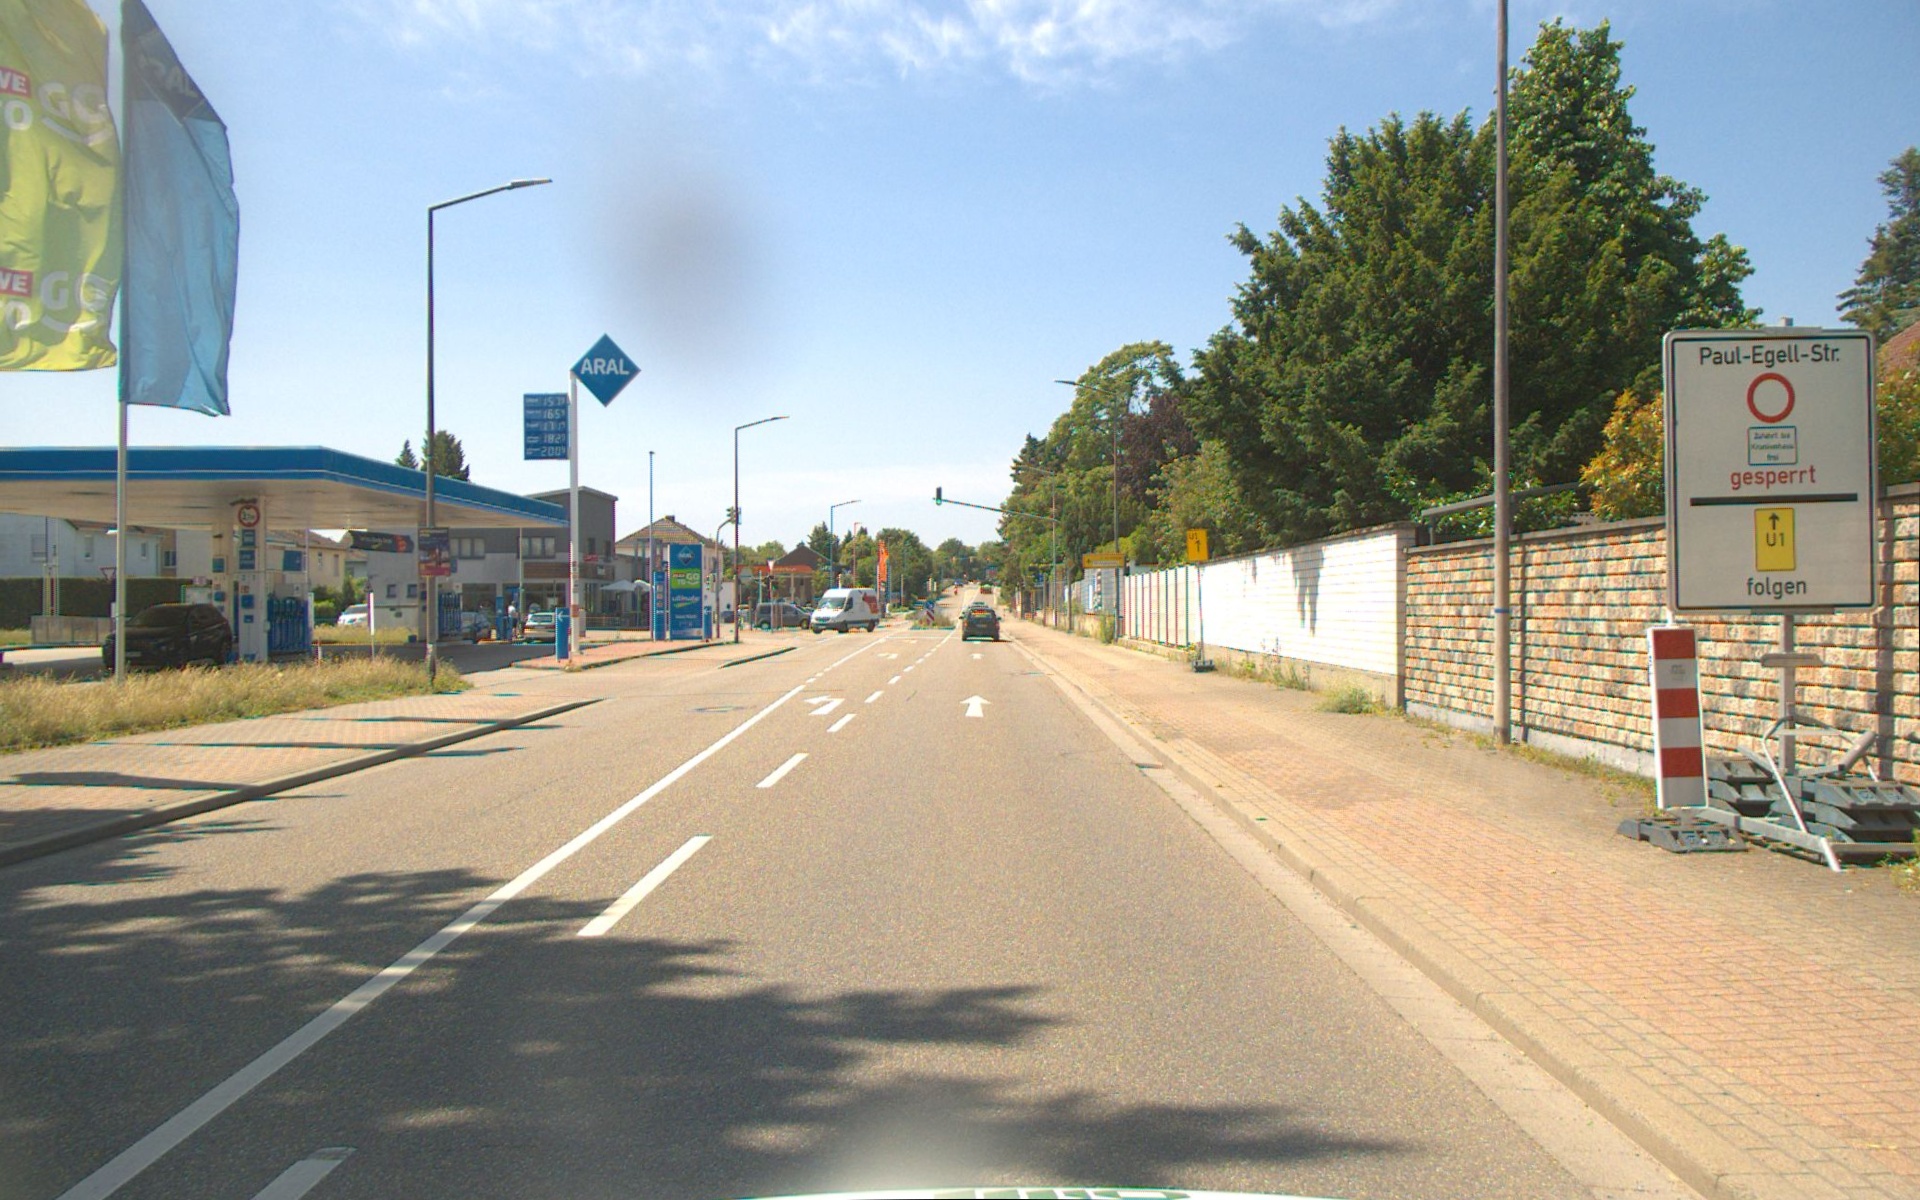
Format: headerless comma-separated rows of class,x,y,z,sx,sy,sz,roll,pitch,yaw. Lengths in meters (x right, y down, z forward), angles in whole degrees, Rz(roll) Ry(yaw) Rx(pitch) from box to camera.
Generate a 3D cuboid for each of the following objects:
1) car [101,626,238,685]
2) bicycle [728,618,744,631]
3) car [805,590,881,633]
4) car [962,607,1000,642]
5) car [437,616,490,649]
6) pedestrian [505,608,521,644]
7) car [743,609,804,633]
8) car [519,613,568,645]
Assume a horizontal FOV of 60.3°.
car,-20.594,1.412,43.243,1.635,1.406,4.000,-1,0,0
bicycle,-13.682,1.494,100.962,0.600,0.807,2.574,-1,0,0
car,-6.939,0.719,98.808,1.953,2.465,5.944,0,-2,24
car,0.909,1.052,73.239,1.631,1.481,3.472,-1,0,0
car,-23.638,1.517,78.863,1.585,1.445,3.708,-2,0,-4
pedestrian,-21.754,1.247,80.514,0.603,1.721,0.703,-1,-1,-26
car,-12.367,1.366,109.951,3.907,1.534,1.554,-1,0,-3
car,-19.970,1.376,79.467,1.585,1.445,3.708,-2,0,-4
